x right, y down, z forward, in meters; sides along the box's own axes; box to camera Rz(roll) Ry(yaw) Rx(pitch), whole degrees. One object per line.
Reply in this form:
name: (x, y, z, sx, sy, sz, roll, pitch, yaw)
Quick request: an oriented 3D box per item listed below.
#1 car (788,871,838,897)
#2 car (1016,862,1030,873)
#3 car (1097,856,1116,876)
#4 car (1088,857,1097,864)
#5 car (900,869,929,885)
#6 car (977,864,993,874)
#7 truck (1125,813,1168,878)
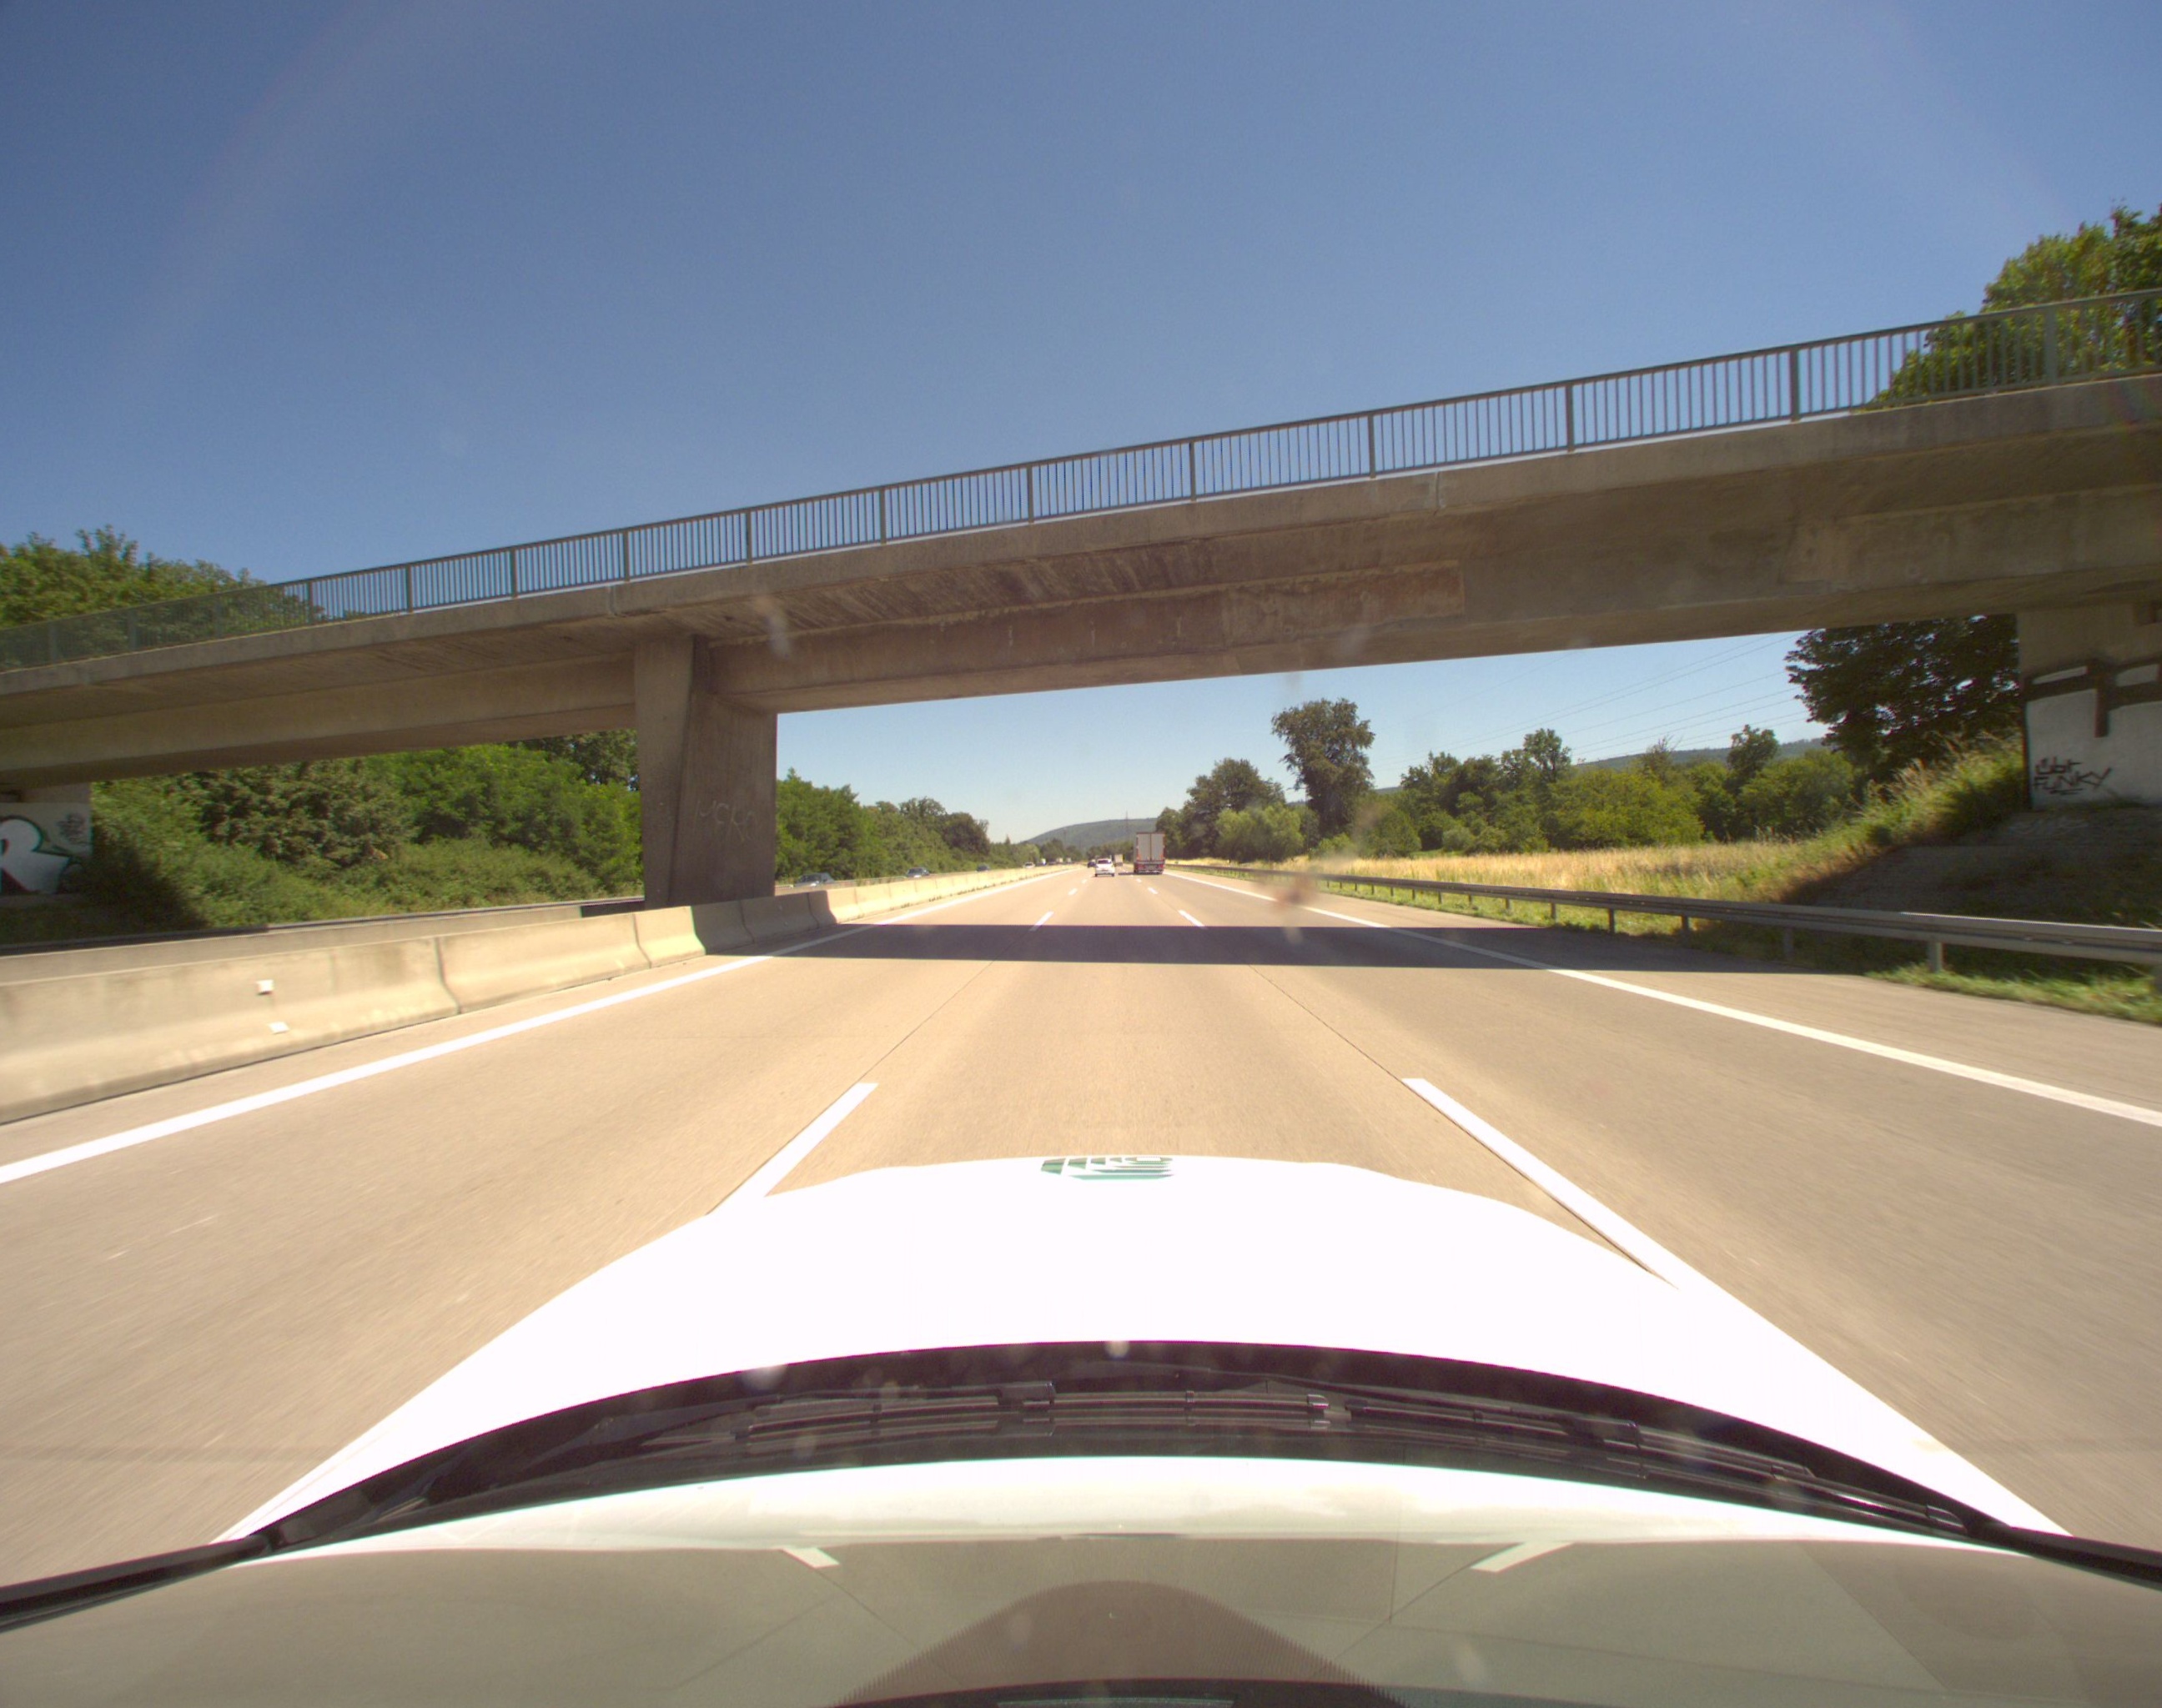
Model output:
car: (-15.481, 1.727, 47.192, 1.559, 1.319, 3.633, -2, 0, 2)
car: (-9.331, 2.150, 131.105, 1.702, 1.678, 4.930, -3, 0, 2)
car: (2.200, 1.031, 70.251, 1.635, 1.662, 3.361, 0, 0, 2)
car: (2.480, 1.414, 177.985, 2.016, 1.700, 3.998, 0, -1, -1)
car: (-14.906, 2.024, 73.162, 1.559, 1.319, 4.374, -2, 0, 2)
car: (-12.952, 1.987, 109.706, 1.560, 1.319, 3.633, -2, 0, 1)
truck: (6.436, -0.755, 83.313, 3.563, 5.787, 18.257, -1, 0, 2)
